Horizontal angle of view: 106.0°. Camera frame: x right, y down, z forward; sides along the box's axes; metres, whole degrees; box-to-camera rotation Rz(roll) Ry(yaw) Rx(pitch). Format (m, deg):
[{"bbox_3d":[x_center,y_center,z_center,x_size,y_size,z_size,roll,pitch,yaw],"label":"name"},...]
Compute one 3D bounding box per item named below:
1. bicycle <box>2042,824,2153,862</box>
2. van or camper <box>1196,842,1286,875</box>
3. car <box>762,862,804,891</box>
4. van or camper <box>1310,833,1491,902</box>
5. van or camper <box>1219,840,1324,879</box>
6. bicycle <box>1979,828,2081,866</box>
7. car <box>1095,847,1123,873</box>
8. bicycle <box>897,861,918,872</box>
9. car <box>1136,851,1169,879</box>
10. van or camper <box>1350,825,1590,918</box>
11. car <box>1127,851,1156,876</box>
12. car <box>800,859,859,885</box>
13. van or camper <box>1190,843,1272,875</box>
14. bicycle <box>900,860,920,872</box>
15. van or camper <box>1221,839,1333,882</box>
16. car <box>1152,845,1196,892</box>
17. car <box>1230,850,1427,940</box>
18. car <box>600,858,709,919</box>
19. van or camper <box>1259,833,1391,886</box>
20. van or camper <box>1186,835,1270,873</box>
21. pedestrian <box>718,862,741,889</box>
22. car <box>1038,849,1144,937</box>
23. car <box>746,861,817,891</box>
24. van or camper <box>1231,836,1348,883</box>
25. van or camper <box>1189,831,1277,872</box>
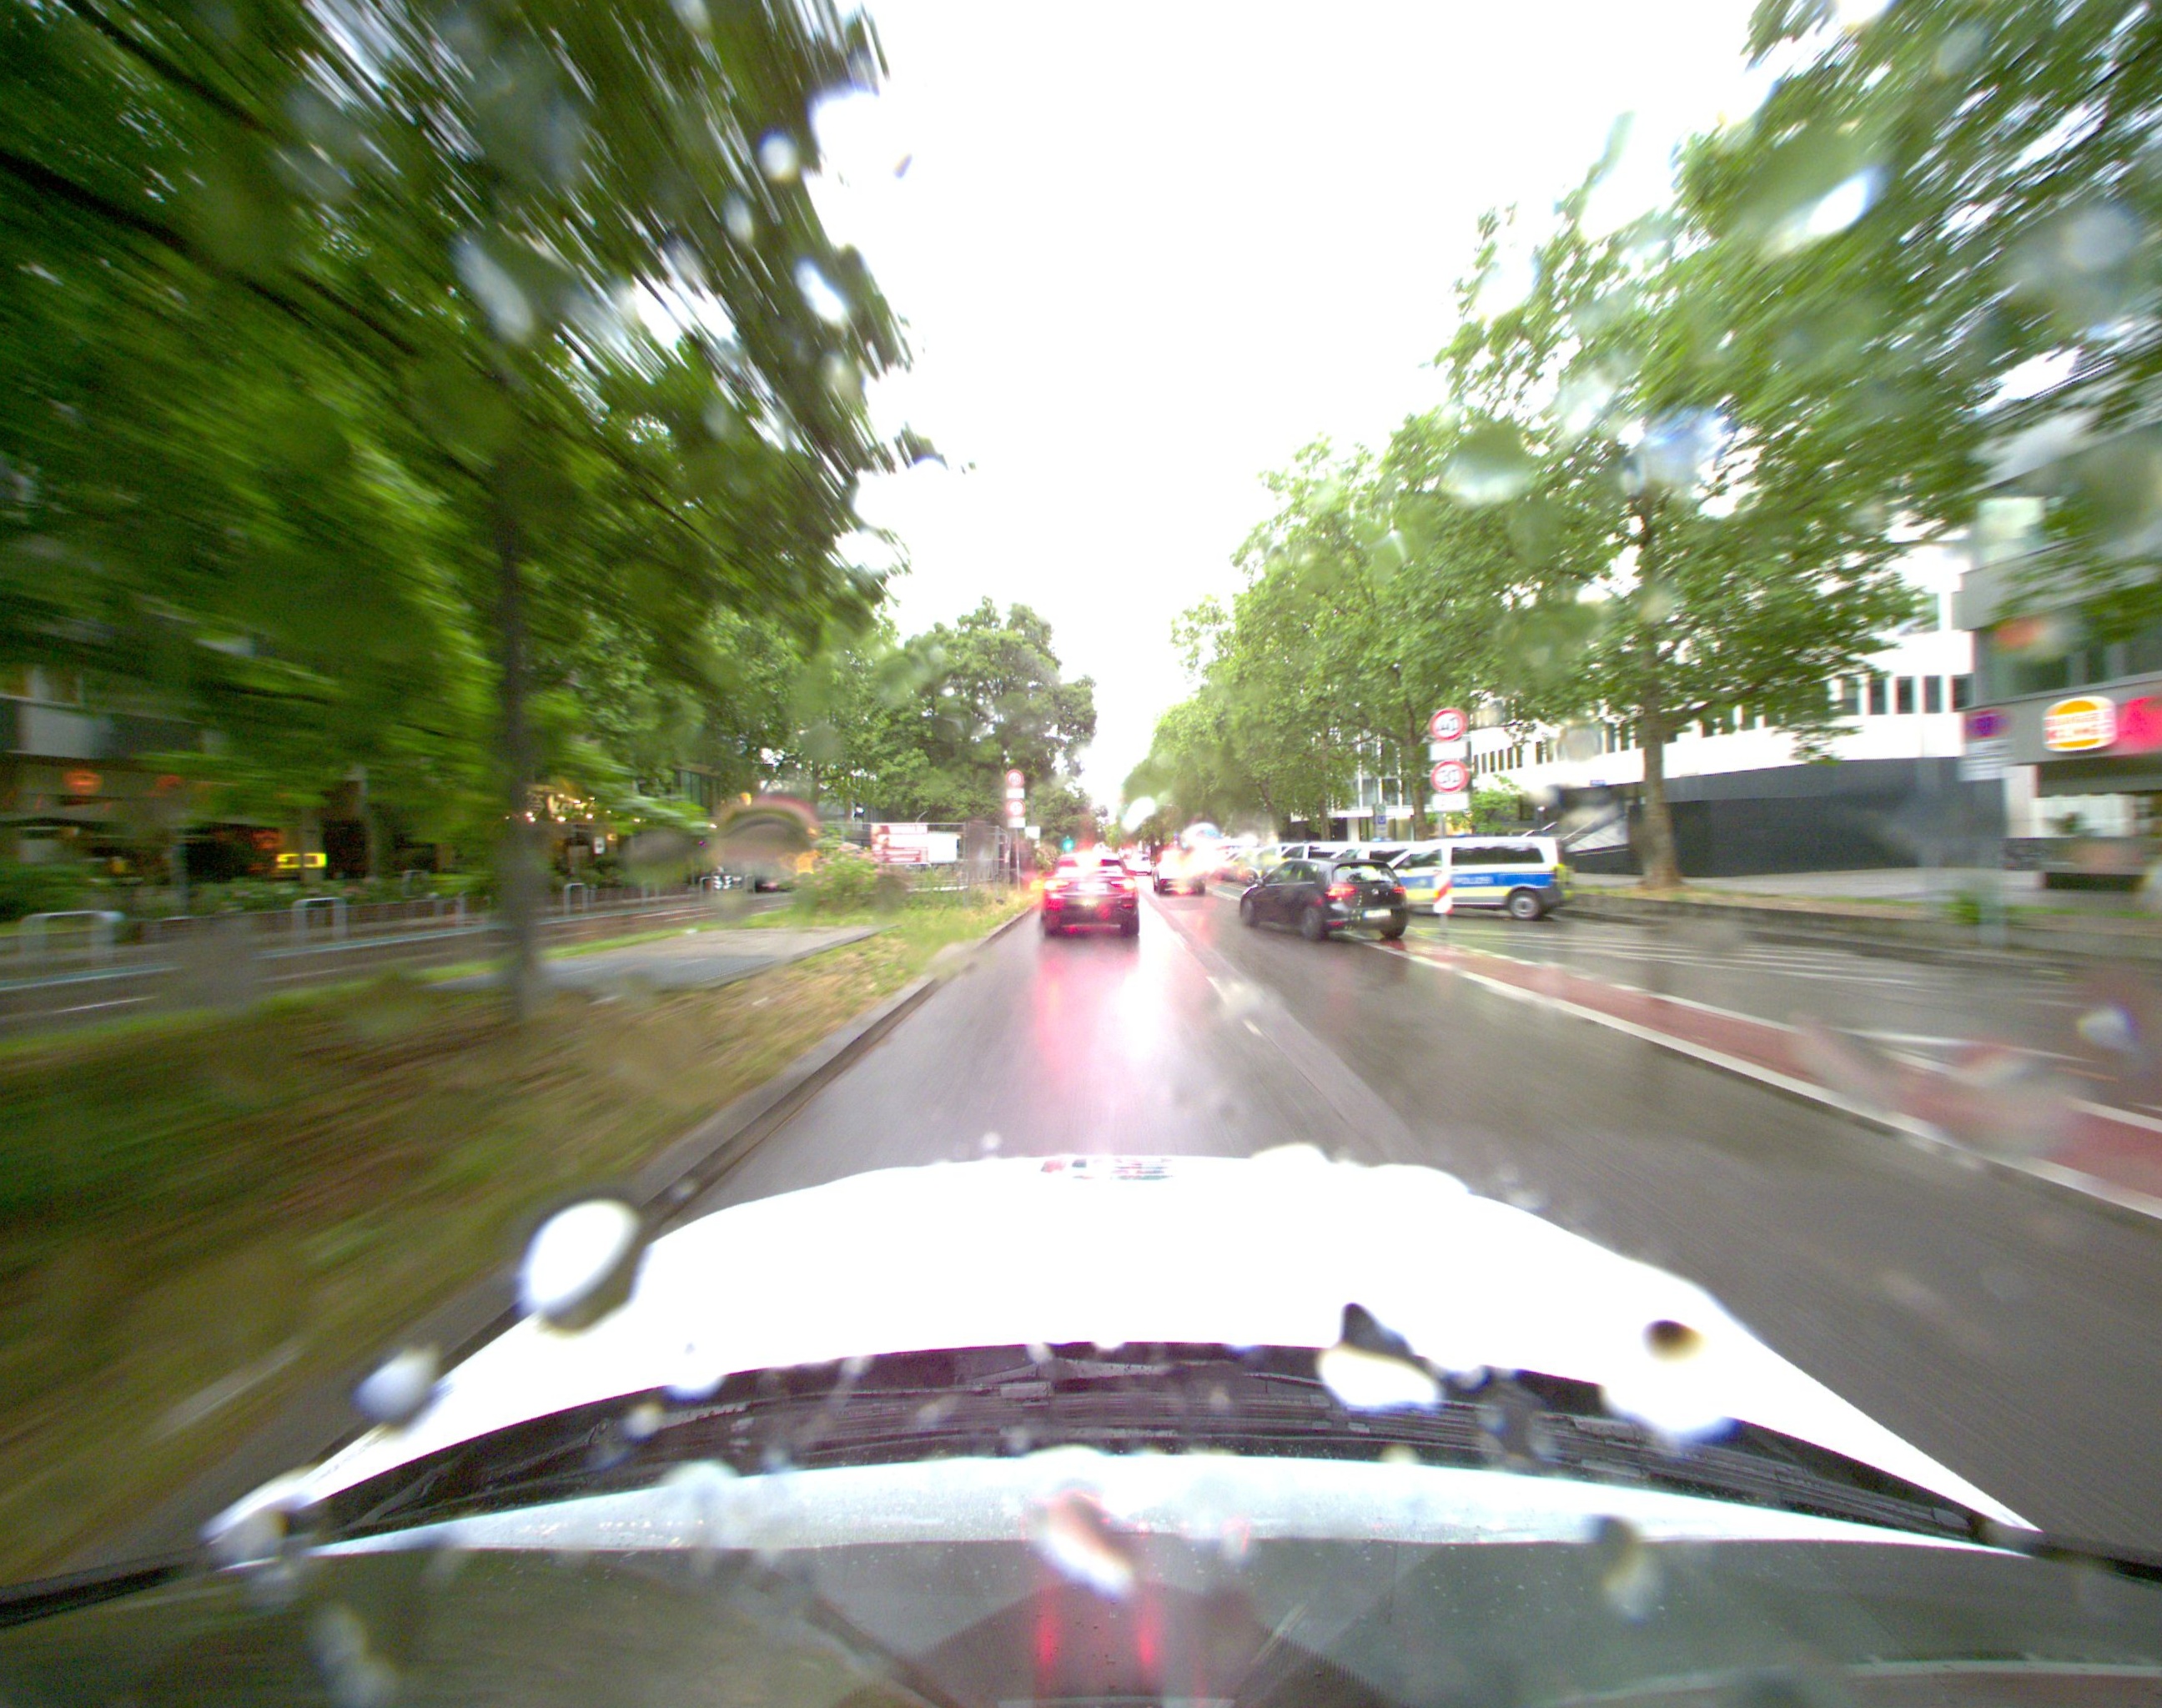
[{"bbox_3d":[32.602,-0.345,26.184,0.684,1.173,2.286,-1,0,-1],"label":"bicycle"},{"bbox_3d":[9.973,0.300,51.038,5.142,1.992,2.013,0,-1,36],"label":"van or camper"},{"bbox_3d":[-15.132,1.129,41.421,1.046,1.387,2.695,-2,0,2],"label":"car"},{"bbox_3d":[10.164,0.395,26.104,5.023,2.019,2.010,0,0,38],"label":"van or camper"},{"bbox_3d":[10.240,0.314,44.036,5.042,2.025,2.119,-1,0,39],"label":"van or camper"},{"bbox_3d":[31.065,-0.229,26.727,0.684,1.173,2.288,-1,0,1],"label":"bicycle"},{"bbox_3d":[1.773,0.393,53.061,1.715,1.577,3.962,-1,0,1],"label":"car"},{"bbox_3d":[-16.342,1.201,76.689,1.839,0.979,0.565,-1,0,-2],"label":"bicycle"},{"bbox_3d":[4.591,0.675,52.762,1.815,1.750,4.002,-2,0,2],"label":"car"},{"bbox_3d":[9.272,0.391,19.670,4.884,1.992,2.015,-1,0,39],"label":"van or camper"},{"bbox_3d":[4.564,0.677,61.656,1.986,1.750,4.002,-2,0,2],"label":"car"},{"bbox_3d":[-14.974,1.030,48.687,1.986,1.370,4.541,1,0,2],"label":"car"},{"bbox_3d":[10.020,0.377,54.625,4.952,2.014,2.013,-2,-2,37],"label":"van or camper"},{"bbox_3d":[-16.357,1.174,77.842,1.842,1.098,0.613,-1,0,-7],"label":"bicycle"},{"bbox_3d":[9.715,0.332,40.565,4.959,1.995,2.013,-2,0,34],"label":"van or camper"},{"bbox_3d":[3.596,0.540,31.922,1.428,1.685,2.980,-2,0,2],"label":"car"},{"bbox_3d":[4.490,0.678,15.447,1.767,1.413,3.981,-2,0,-14],"label":"car"},{"bbox_3d":[-12.677,0.948,24.509,1.720,1.626,4.423,-1,0,-12],"label":"car"},{"bbox_3d":[9.879,0.229,33.176,4.792,1.998,1.880,-1,0,38],"label":"van or camper"},{"bbox_3d":[10.894,0.018,60.665,5.741,2.677,2.161,-1,0,39],"label":"van or camper"},{"bbox_3d":[-18.242,1.110,42.275,0.761,1.380,0.933,-1,0,-2],"label":"pedestrian"},{"bbox_3d":[0.282,0.680,16.768,1.856,1.532,4.530,-1,0,3],"label":"car"},{"bbox_3d":[-15.234,1.086,41.714,1.818,1.394,4.485,-1,0,2],"label":"car"},{"bbox_3d":[9.467,0.271,37.229,4.733,2.011,2.013,-1,-1,37],"label":"van or camper"},{"bbox_3d":[10.659,-0.146,57.444,5.736,2.680,2.013,-2,0,37],"label":"van or camper"}]
